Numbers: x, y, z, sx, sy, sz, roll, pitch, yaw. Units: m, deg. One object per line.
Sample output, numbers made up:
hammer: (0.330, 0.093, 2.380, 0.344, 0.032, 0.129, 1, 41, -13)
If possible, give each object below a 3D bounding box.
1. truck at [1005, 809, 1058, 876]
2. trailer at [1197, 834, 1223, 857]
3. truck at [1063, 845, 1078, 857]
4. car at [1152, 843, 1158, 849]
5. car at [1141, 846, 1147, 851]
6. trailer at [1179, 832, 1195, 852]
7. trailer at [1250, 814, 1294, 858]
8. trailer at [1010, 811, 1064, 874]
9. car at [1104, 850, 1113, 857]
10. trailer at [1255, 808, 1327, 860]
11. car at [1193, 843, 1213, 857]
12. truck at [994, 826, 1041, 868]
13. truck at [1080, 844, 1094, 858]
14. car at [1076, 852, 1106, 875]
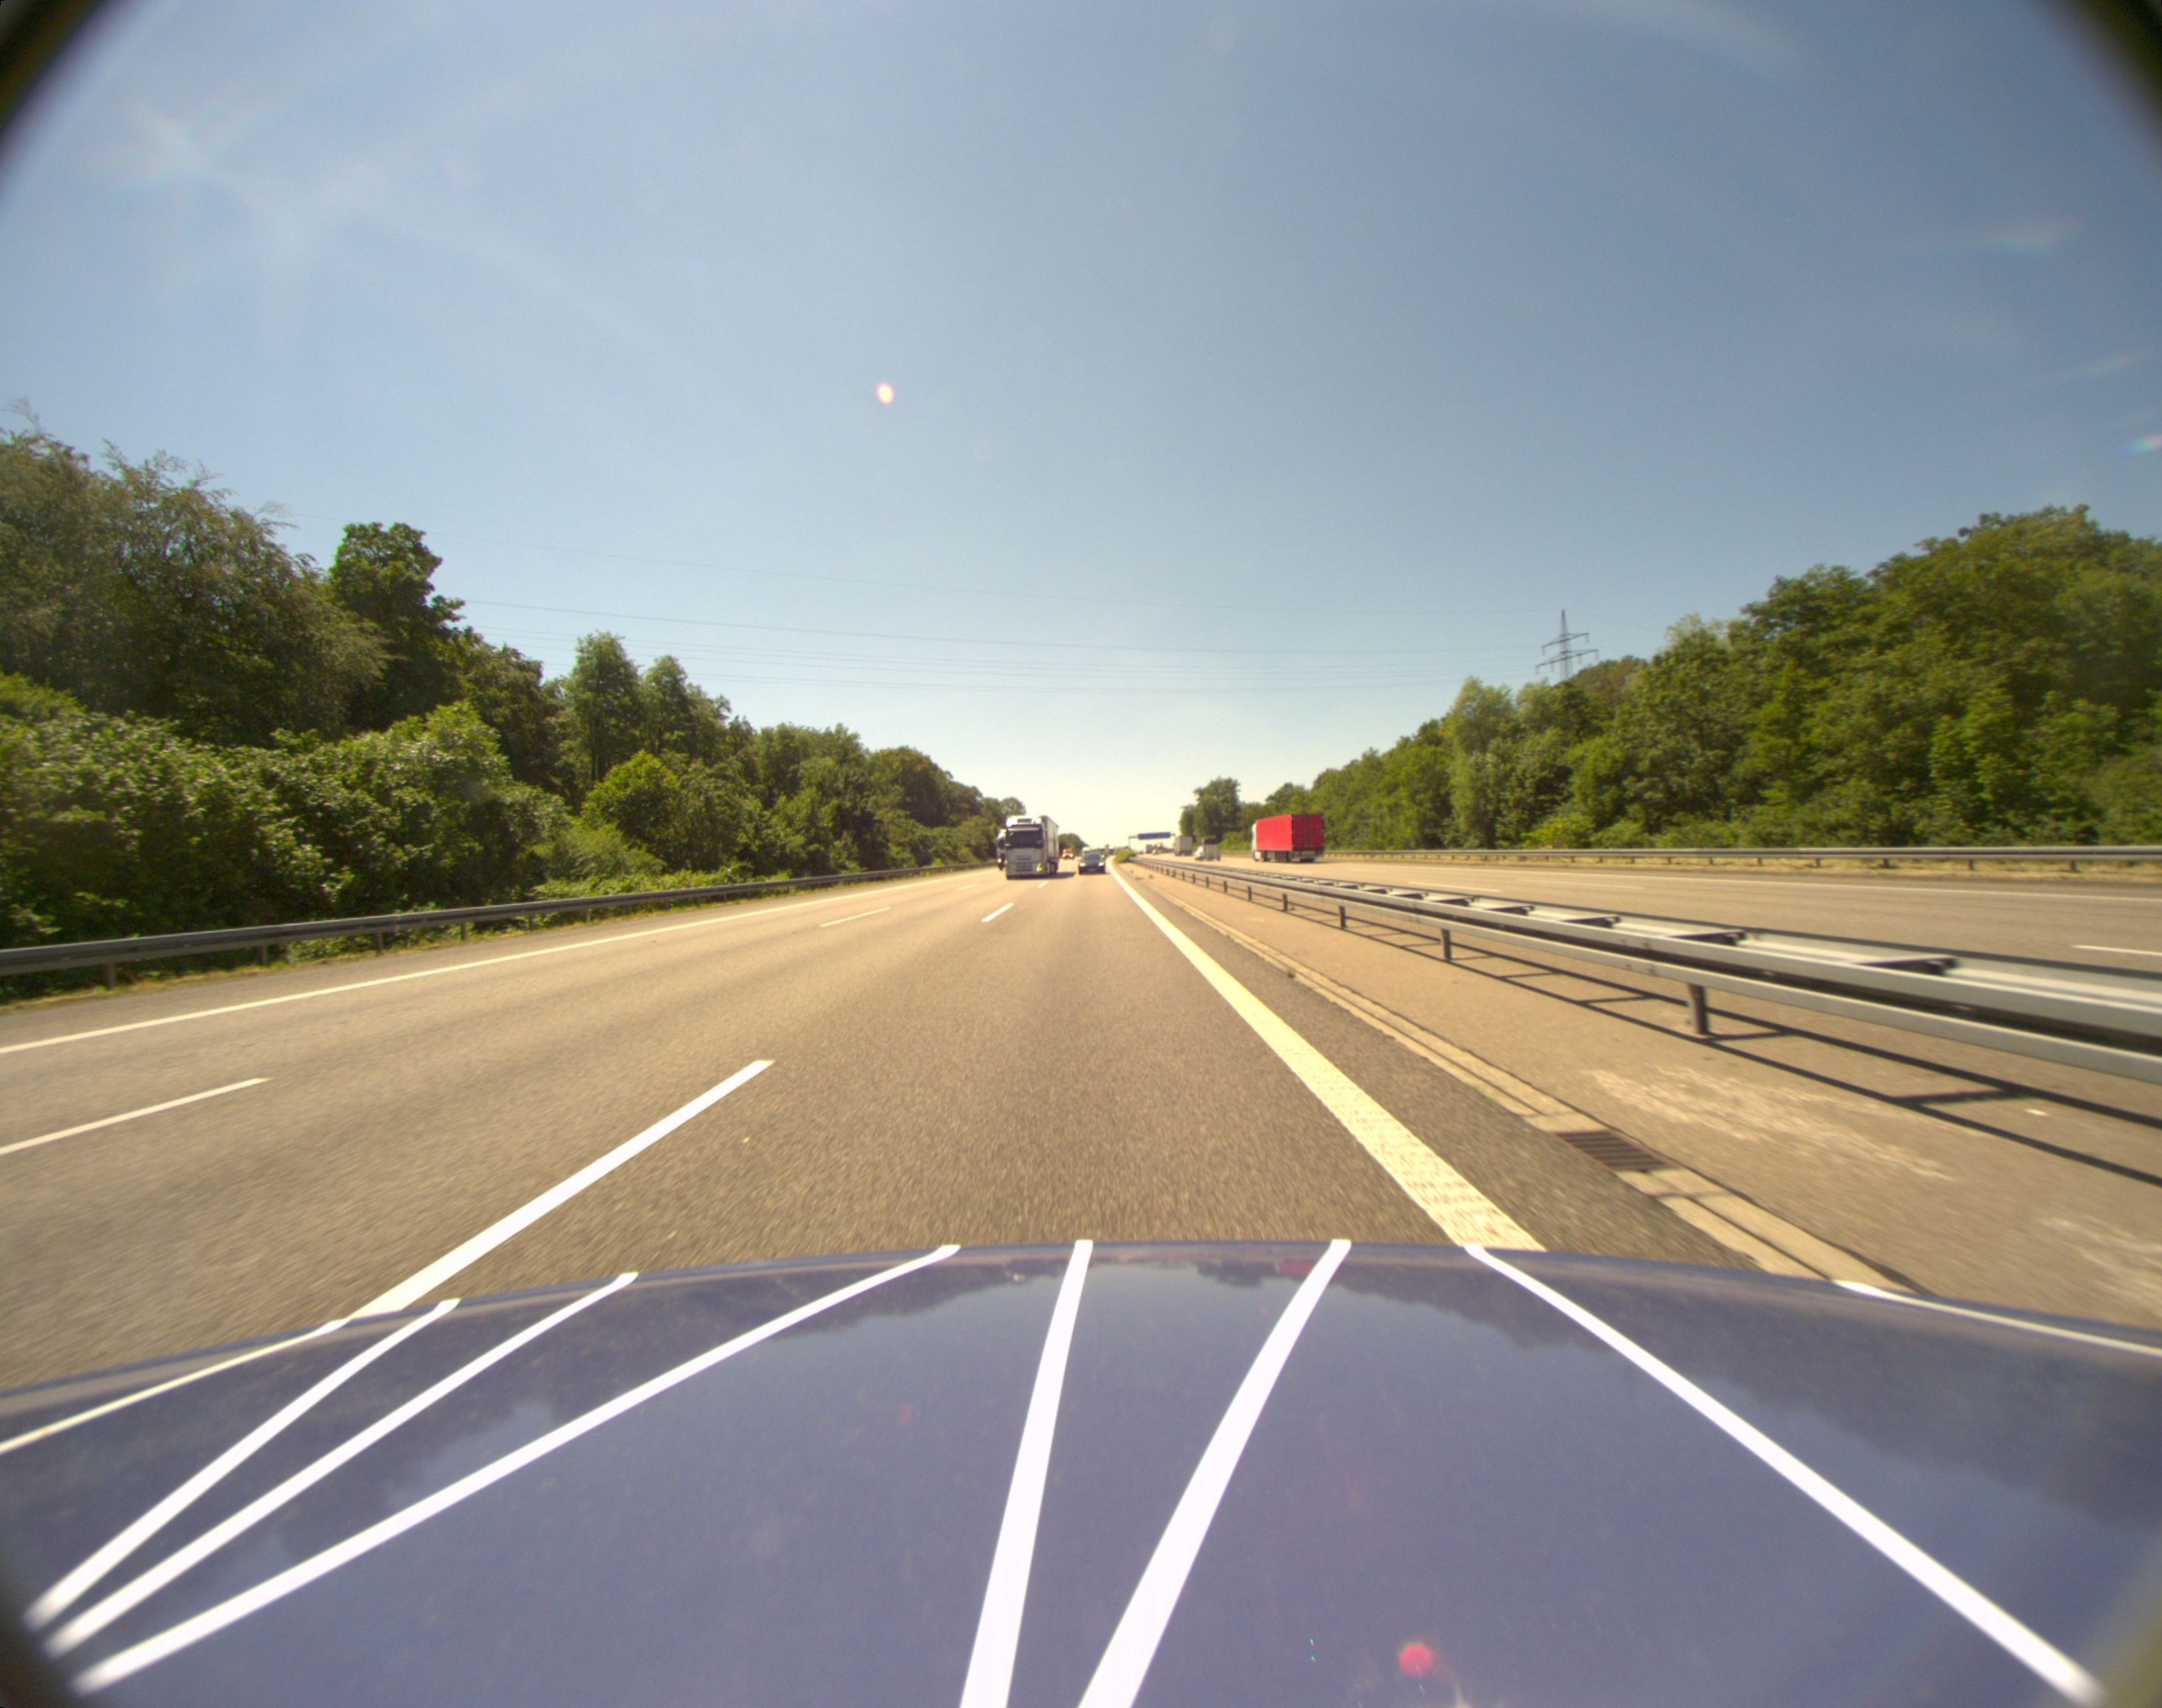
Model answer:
truck: (-3.070, -0.734, 49.133, 2.729, 3.952, 6.501, -2, 1, 1)
trailer: (15.085, -1.009, 89.203, 2.091, 2.598, 4.955, -2, 1, 0)
truck: (-2.457, -0.692, 174.310, 2.436, 2.426, 10.011, -2, 0, 4)
car: (21.499, -2.330, 220.649, 1.669, 1.445, 4.124, -2, 0, 3)
car: (20.275, -1.720, 244.988, 1.669, 1.445, 4.124, -2, 0, 3)
trailer: (22.647, -2.596, 162.966, 2.676, 3.943, 13.667, -2, 0, 6)
trailer: (18.546, -1.708, 74.073, 2.695, 4.018, 6.036, -2, 1, 1)
trailer: (-2.972, -0.779, 55.107, 2.747, 3.952, 13.653, -2, 0, 1)
car: (6.892, -0.045, 191.099, 1.879, 1.630, 4.000, -2, 0, 0)
trailer: (18.336, -1.662, 67.563, 2.690, 4.044, 14.050, -2, 0, 2)
car: (14.974, -0.487, 93.637, 1.840, 1.622, 4.019, -2, 1, 0)
truck: (-6.605, -0.766, 81.594, 3.049, 3.947, 14.454, -2, 1, 2)
truck: (1.484, -0.717, 184.852, 2.858, 3.163, 10.713, -2, 0, 2)
car: (0.670, 0.585, 49.578, 1.800, 1.390, 4.833, -2, 0, 2)
